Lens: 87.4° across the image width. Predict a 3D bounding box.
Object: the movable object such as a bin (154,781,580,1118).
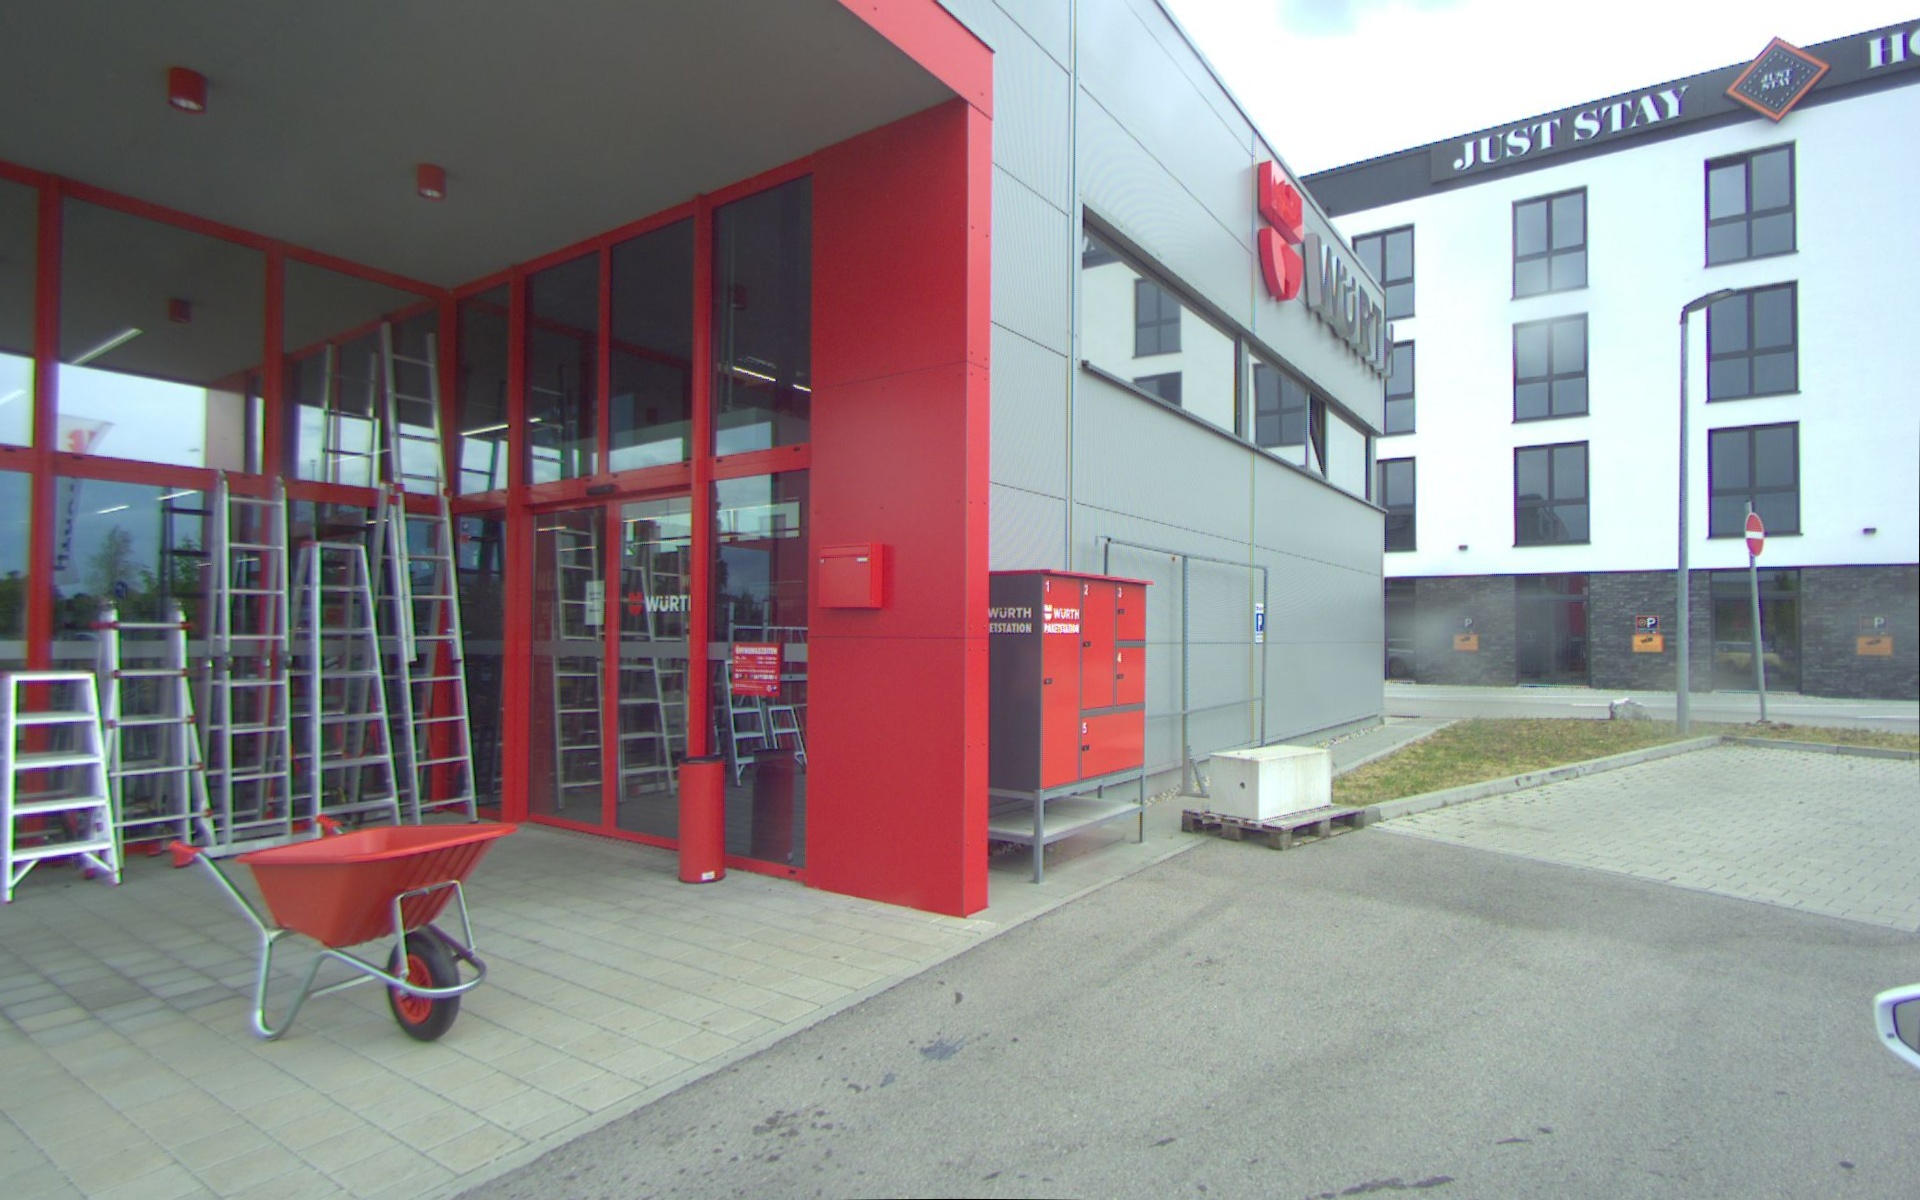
[{"bbox_3d":[-2.189,1.139,3.660,1.560,0.725,0.800,-2,-2,37],"label":"movable object such as a bin"}]
